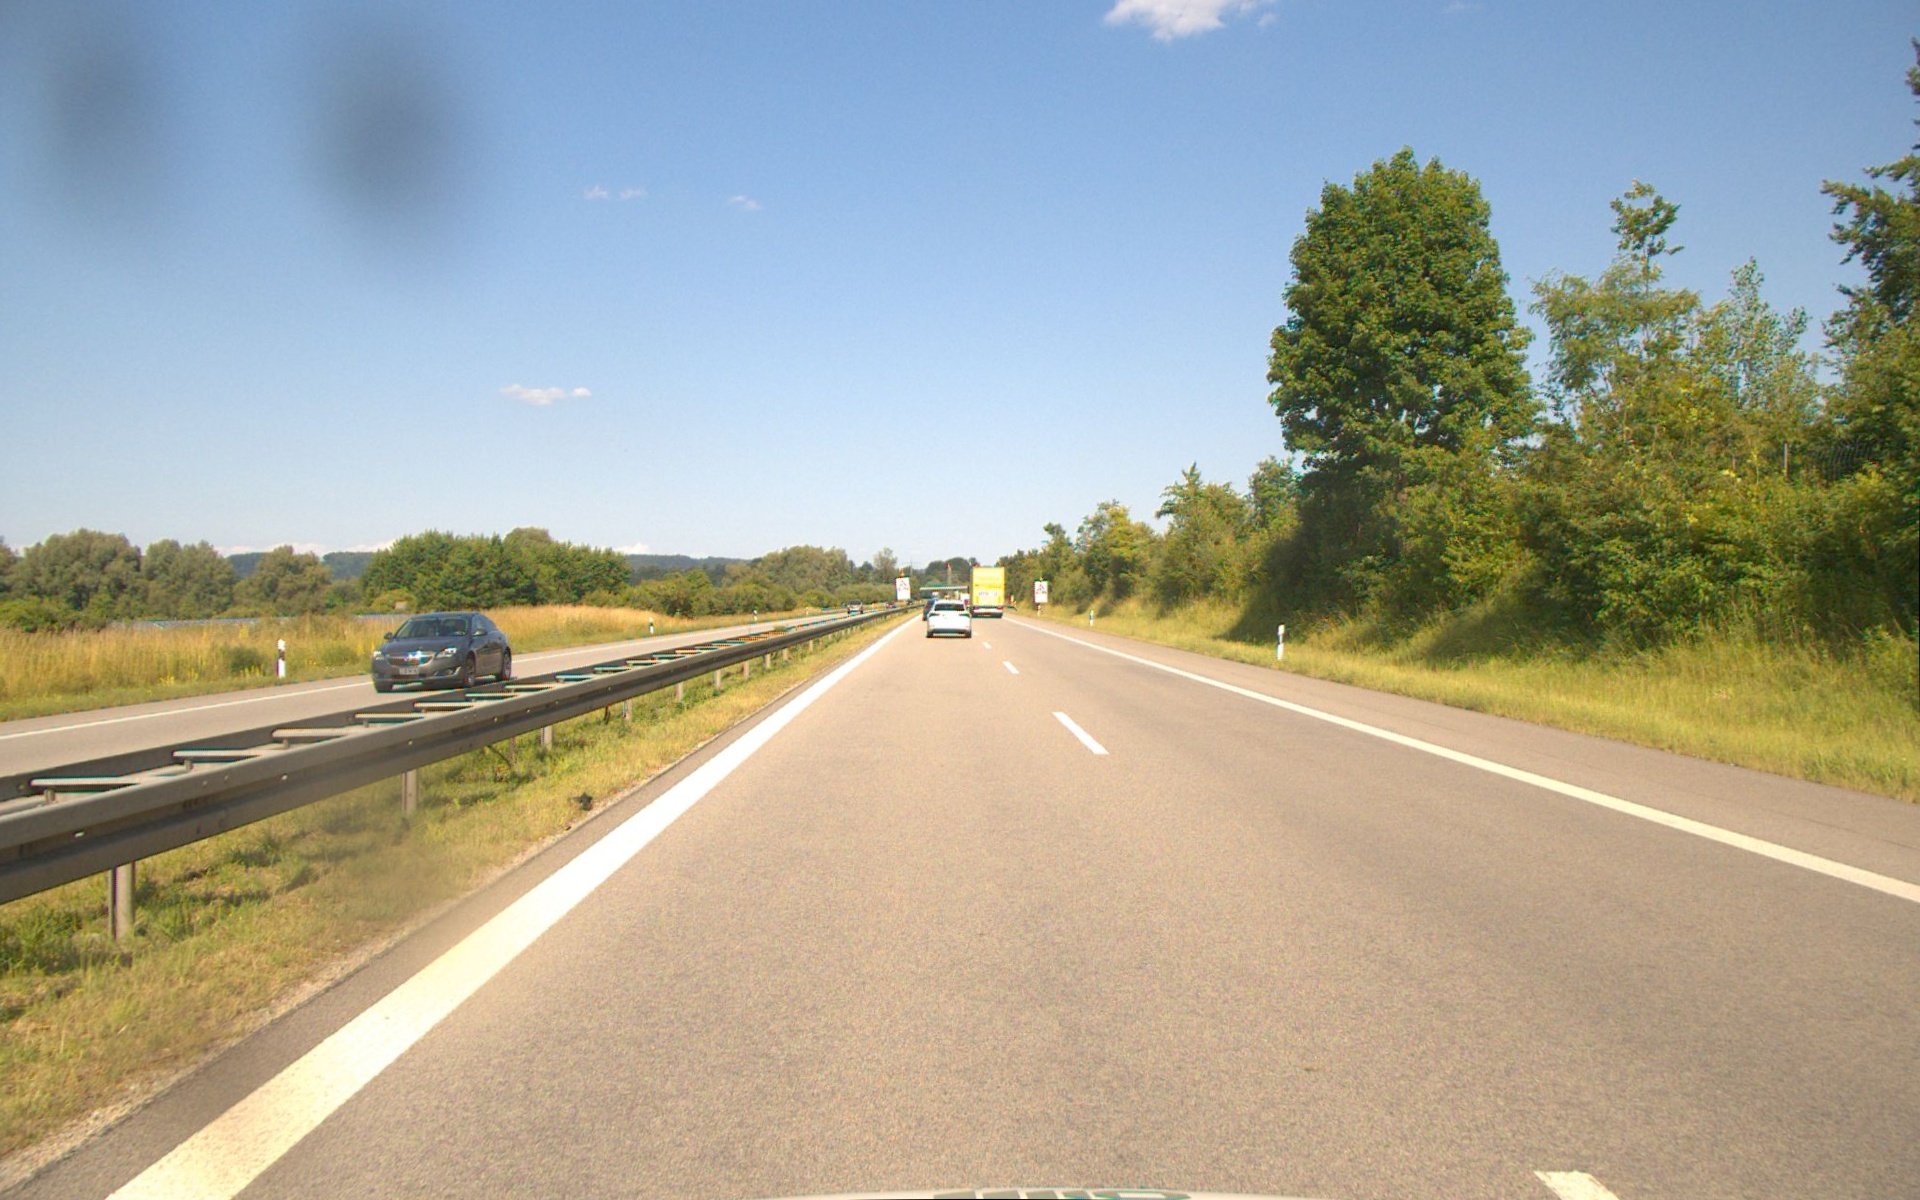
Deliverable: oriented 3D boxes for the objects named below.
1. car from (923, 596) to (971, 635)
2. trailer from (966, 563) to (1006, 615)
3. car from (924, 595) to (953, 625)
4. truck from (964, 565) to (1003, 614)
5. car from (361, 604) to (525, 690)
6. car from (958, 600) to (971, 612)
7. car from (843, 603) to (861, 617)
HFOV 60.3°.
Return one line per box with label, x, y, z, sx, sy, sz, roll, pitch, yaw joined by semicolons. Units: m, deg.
car;-0.484;0.610;64.817;1.805;1.440;4.000;1;0;1
trailer;2.111;-0.864;139.796;3.119;4.130;13.185;1;0;0
car;-1.473;0.698;114.940;1.953;2.049;3.999;1;0;-1
truck;2.042;-0.885;146.327;3.104;4.186;6.387;1;0;-1
car;-10.151;0.872;32.871;1.734;1.511;4.912;-1;0;-1
car;0.695;0.924;250.715;1.863;1.712;4.730;2;0;-1
car;-13.660;1.217;209.307;1.863;1.712;4.730;-2;0;-1
